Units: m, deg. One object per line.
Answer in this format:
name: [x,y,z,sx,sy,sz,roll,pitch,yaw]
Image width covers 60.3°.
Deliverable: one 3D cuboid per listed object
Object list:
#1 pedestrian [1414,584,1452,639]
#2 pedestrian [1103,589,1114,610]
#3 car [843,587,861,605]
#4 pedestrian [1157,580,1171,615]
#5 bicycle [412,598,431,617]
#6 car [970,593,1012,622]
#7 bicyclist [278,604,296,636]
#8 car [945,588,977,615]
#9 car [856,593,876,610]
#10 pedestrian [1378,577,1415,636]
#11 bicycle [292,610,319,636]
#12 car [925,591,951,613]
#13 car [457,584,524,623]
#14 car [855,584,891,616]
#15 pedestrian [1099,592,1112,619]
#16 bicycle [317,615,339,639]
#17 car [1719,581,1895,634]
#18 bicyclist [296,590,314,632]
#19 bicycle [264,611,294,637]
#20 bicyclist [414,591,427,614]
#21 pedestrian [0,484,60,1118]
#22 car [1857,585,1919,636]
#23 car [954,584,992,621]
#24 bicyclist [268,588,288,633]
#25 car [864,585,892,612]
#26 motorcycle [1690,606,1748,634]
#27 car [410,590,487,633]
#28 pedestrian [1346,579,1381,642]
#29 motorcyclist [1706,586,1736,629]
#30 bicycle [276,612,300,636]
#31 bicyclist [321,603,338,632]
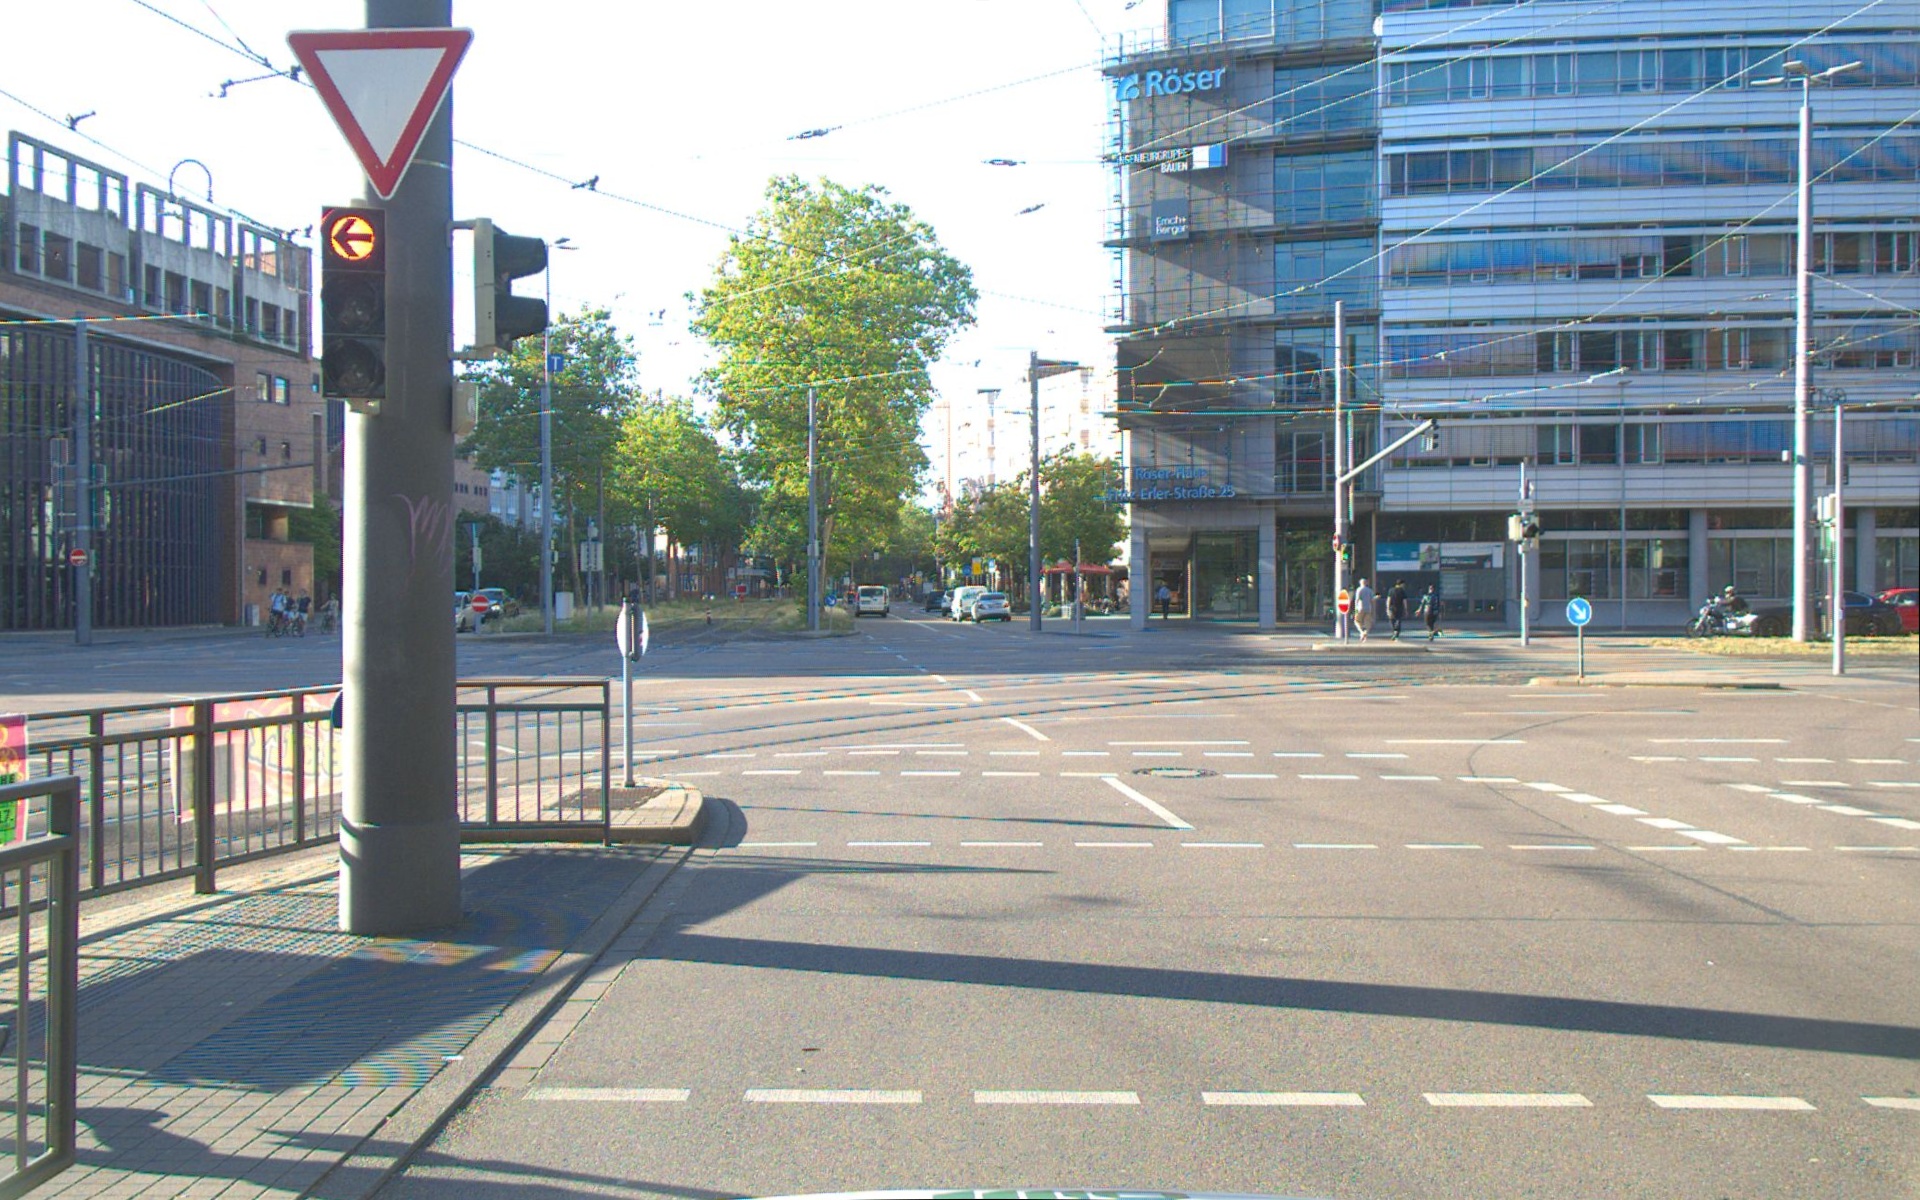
pedestrian: [13.973,0.334,48.867,0.928,1.591,0.897,-1,0,6]
pedestrian: [9.535,-0.037,106.195,0.565,1.311,0.910,-1,0,-1]
car: [-12.558,-0.443,192.695,1.953,2.049,3.999,-1,0,-1]
pedestrian: [9.092,-0.101,73.636,0.599,1.534,0.579,-1,0,9]
bicycle: [-28.135,0.403,86.420,0.482,0.980,1.486,-1,0,-1]
car: [1.535,0.342,82.784,1.953,1.400,3.999,-1,0,-1]
bicyclist: [-27.708,0.823,68.128,0.495,1.327,0.581,-1,0,-1]
car: [0.034,0.077,105.206,1.953,1.646,3.999,-1,0,-1]
car: [-8.357,0.172,147.175,1.762,1.467,3.998,1,0,-3]
pedestrian: [13.054,0.191,49.499,0.893,1.714,1.036,-1,0,6]
bicycle: [-25.872,0.908,65.417,0.463,0.980,1.575,-1,0,-1]
car: [-1.681,0.139,126.629,1.953,1.646,3.999,-1,0,-1]
car: [-21.123,0.150,74.590,1.953,1.668,3.999,-1,0,-2]
car: [-5.299,-0.023,101.257,1.921,1.881,5.329,-1,0,-1]
pedestrian: [9.218,0.340,104.931,0.729,1.744,0.612,-1,0,-1]
bicycle: [-27.107,1.165,70.963,0.442,0.980,1.347,-1,0,-1]
car: [24.037,0.208,47.027,4.070,1.423,1.786,-1,0,4]
bicyclist: [-25.877,0.441,65.338,0.449,1.631,0.581,-1,0,-1]
bicycle: [-26.830,0.925,65.149,0.531,0.980,1.586,-1,0,-1]
bicyclist: [-28.213,0.126,86.461,0.495,1.232,0.581,-1,0,-1]
pedestrian: [-3.226,0.561,4.685,1.082,1.779,0.732,0,0,-39]
car: [29.337,0.265,49.555,3.903,1.418,1.786,-2,0,4]
car: [0.686,0.122,89.569,1.953,1.892,3.999,-1,0,-1]
bicyclist: [-26.834,0.406,65.091,0.525,1.761,0.581,-1,0,-1]
car: [-6.049,-0.097,122.383,1.953,1.945,3.999,-1,0,-1]
motorcycle: [22.883,0.611,49.876,1.535,0.824,0.467,-1,0,3]
car: [-20.669,0.450,67.031,1.953,1.668,3.999,-1,0,-2]
pedestrian: [11.831,0.307,48.521,0.845,1.820,0.872,-1,0,6]
motorcyclist: [22.934,0.220,49.864,0.697,1.298,0.460,-1,0,3]
bicycle: [-27.678,0.985,68.176,0.458,0.980,1.320,-1,0,-1]
bicyclist: [-27.099,0.755,71.094,0.495,1.199,0.581,-1,0,-1]
